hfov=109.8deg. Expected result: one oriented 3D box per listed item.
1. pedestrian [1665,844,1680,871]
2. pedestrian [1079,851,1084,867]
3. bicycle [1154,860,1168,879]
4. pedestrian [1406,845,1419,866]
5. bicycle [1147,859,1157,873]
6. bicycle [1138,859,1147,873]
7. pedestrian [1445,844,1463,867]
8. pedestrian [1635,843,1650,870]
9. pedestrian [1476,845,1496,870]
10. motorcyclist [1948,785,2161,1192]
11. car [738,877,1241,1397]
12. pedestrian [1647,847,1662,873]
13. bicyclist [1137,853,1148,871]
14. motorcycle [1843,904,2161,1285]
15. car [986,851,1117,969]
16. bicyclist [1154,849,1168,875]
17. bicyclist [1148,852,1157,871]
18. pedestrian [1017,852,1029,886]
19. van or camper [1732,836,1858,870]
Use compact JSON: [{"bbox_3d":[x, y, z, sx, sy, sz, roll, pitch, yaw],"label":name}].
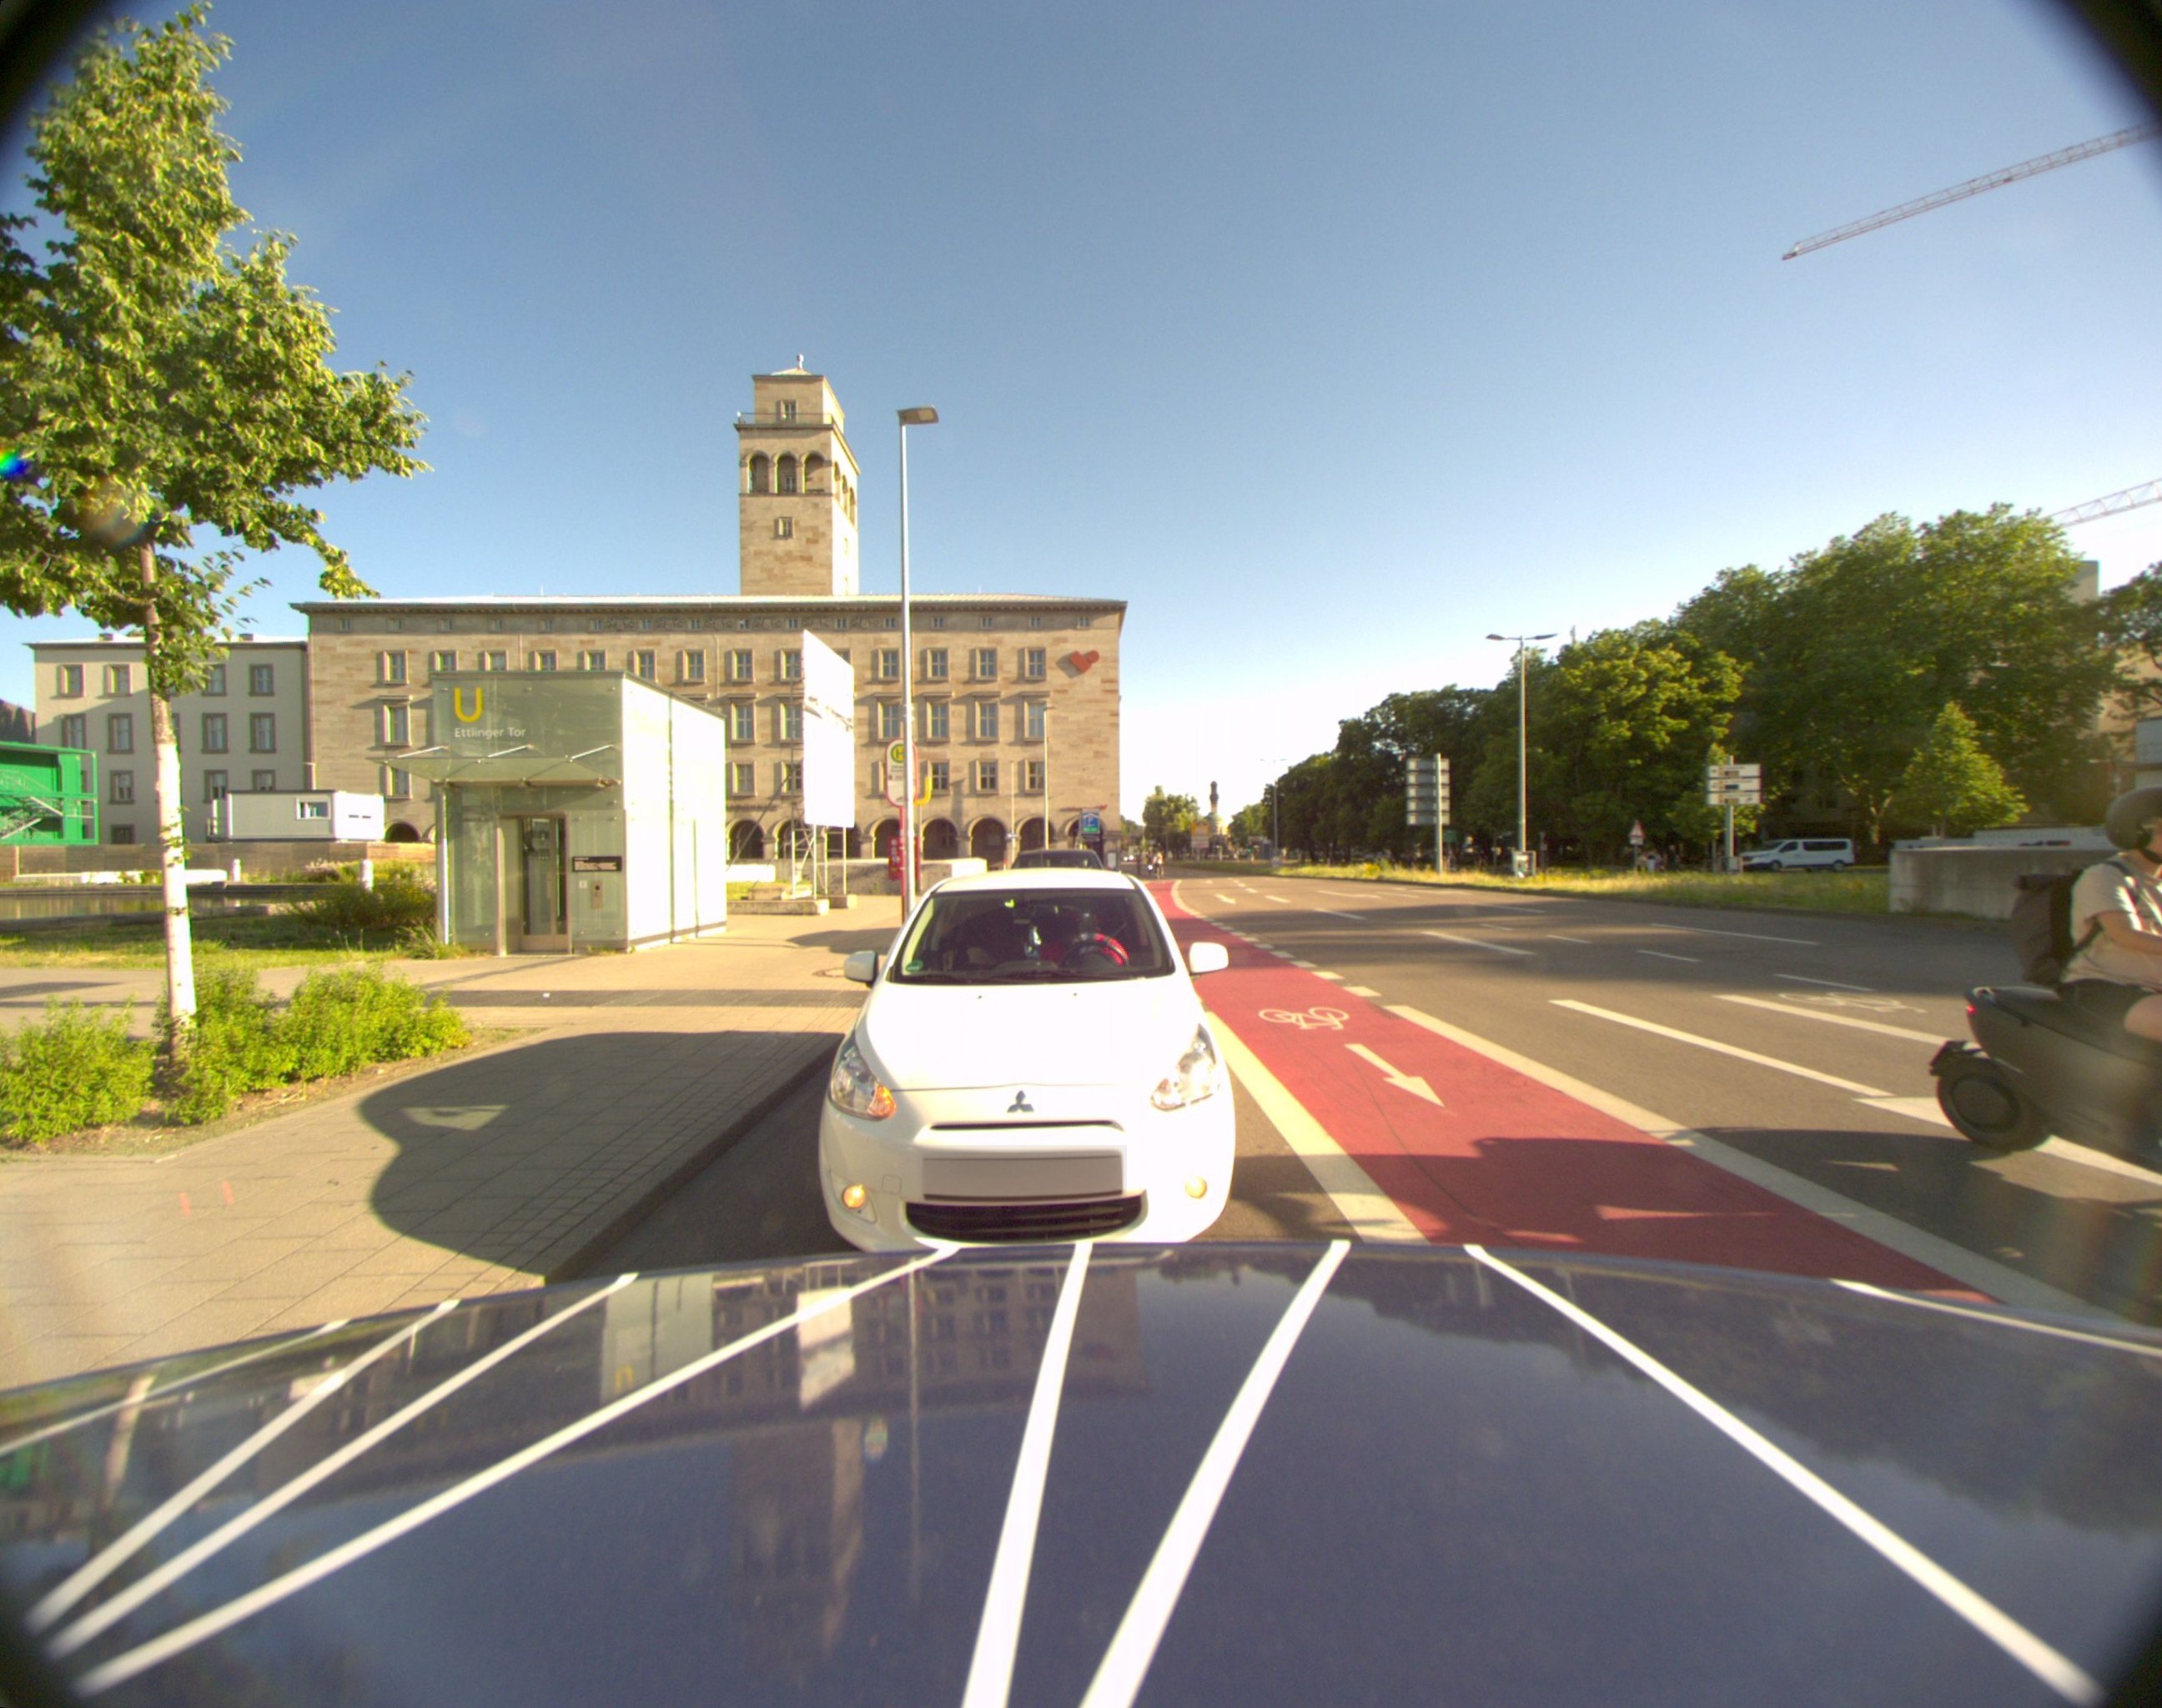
[{"bbox_3d":[33.881,0.201,43.537,0.499,1.502,0.494,-1,1,1],"label":"pedestrian"},{"bbox_3d":[0.113,0.682,99.954,0.612,2.002,0.727,-2,1,0],"label":"pedestrian"},{"bbox_3d":[5.134,0.990,48.954,0.741,1.140,1.890,-1,0,1],"label":"bicycle"},{"bbox_3d":[32.553,0.164,74.612,0.954,2.002,0.842,-1,1,34],"label":"pedestrian"},{"bbox_3d":[6.109,0.996,65.305,0.689,1.185,1.506,-1,1,1],"label":"bicycle"},{"bbox_3d":[5.265,1.006,65.397,0.689,1.185,1.506,-1,1,1],"label":"bicycle"},{"bbox_3d":[32.603,0.151,66.446,0.951,1.952,1.058,-2,1,-14],"label":"pedestrian"},{"bbox_3d":[32.171,0.136,43.521,0.499,1.502,0.494,-1,1,1],"label":"pedestrian"},{"bbox_3d":[32.844,0.256,61.646,1.126,1.952,0.815,-2,1,1],"label":"pedestrian"},{"bbox_3d":[4.276,0.476,2.947,0.823,1.455,0.877,-1,1,1],"label":"motorcyclist"},{"bbox_3d":[-0.251,0.928,4.318,1.519,1.447,4.000,-1,0,1],"label":"car"},{"bbox_3d":[32.924,0.334,43.600,0.499,1.502,0.494,-1,1,1],"label":"pedestrian"},{"bbox_3d":[5.271,0.678,65.333,0.823,1.568,0.877,-1,1,1],"label":"bicyclist"},{"bbox_3d":[4.277,0.899,2.885,0.828,1.273,1.944,-1,0,1],"label":"motorcycle"},{"bbox_3d":[-0.391,0.796,12.817,1.833,1.660,4.000,-1,0,1],"label":"car"},{"bbox_3d":[5.170,0.519,48.933,0.807,1.690,0.852,-1,1,1],"label":"bicyclist"},{"bbox_3d":[6.121,0.651,65.291,0.674,1.649,0.877,-1,1,1],"label":"bicyclist"},{"bbox_3d":[-2.943,0.750,38.330,0.552,1.692,0.553,-1,1,-1],"label":"pedestrian"},{"bbox_3d":[42.245,-0.048,45.069,5.499,1.934,1.951,-1,0,4],"label":"van or camper"}]
